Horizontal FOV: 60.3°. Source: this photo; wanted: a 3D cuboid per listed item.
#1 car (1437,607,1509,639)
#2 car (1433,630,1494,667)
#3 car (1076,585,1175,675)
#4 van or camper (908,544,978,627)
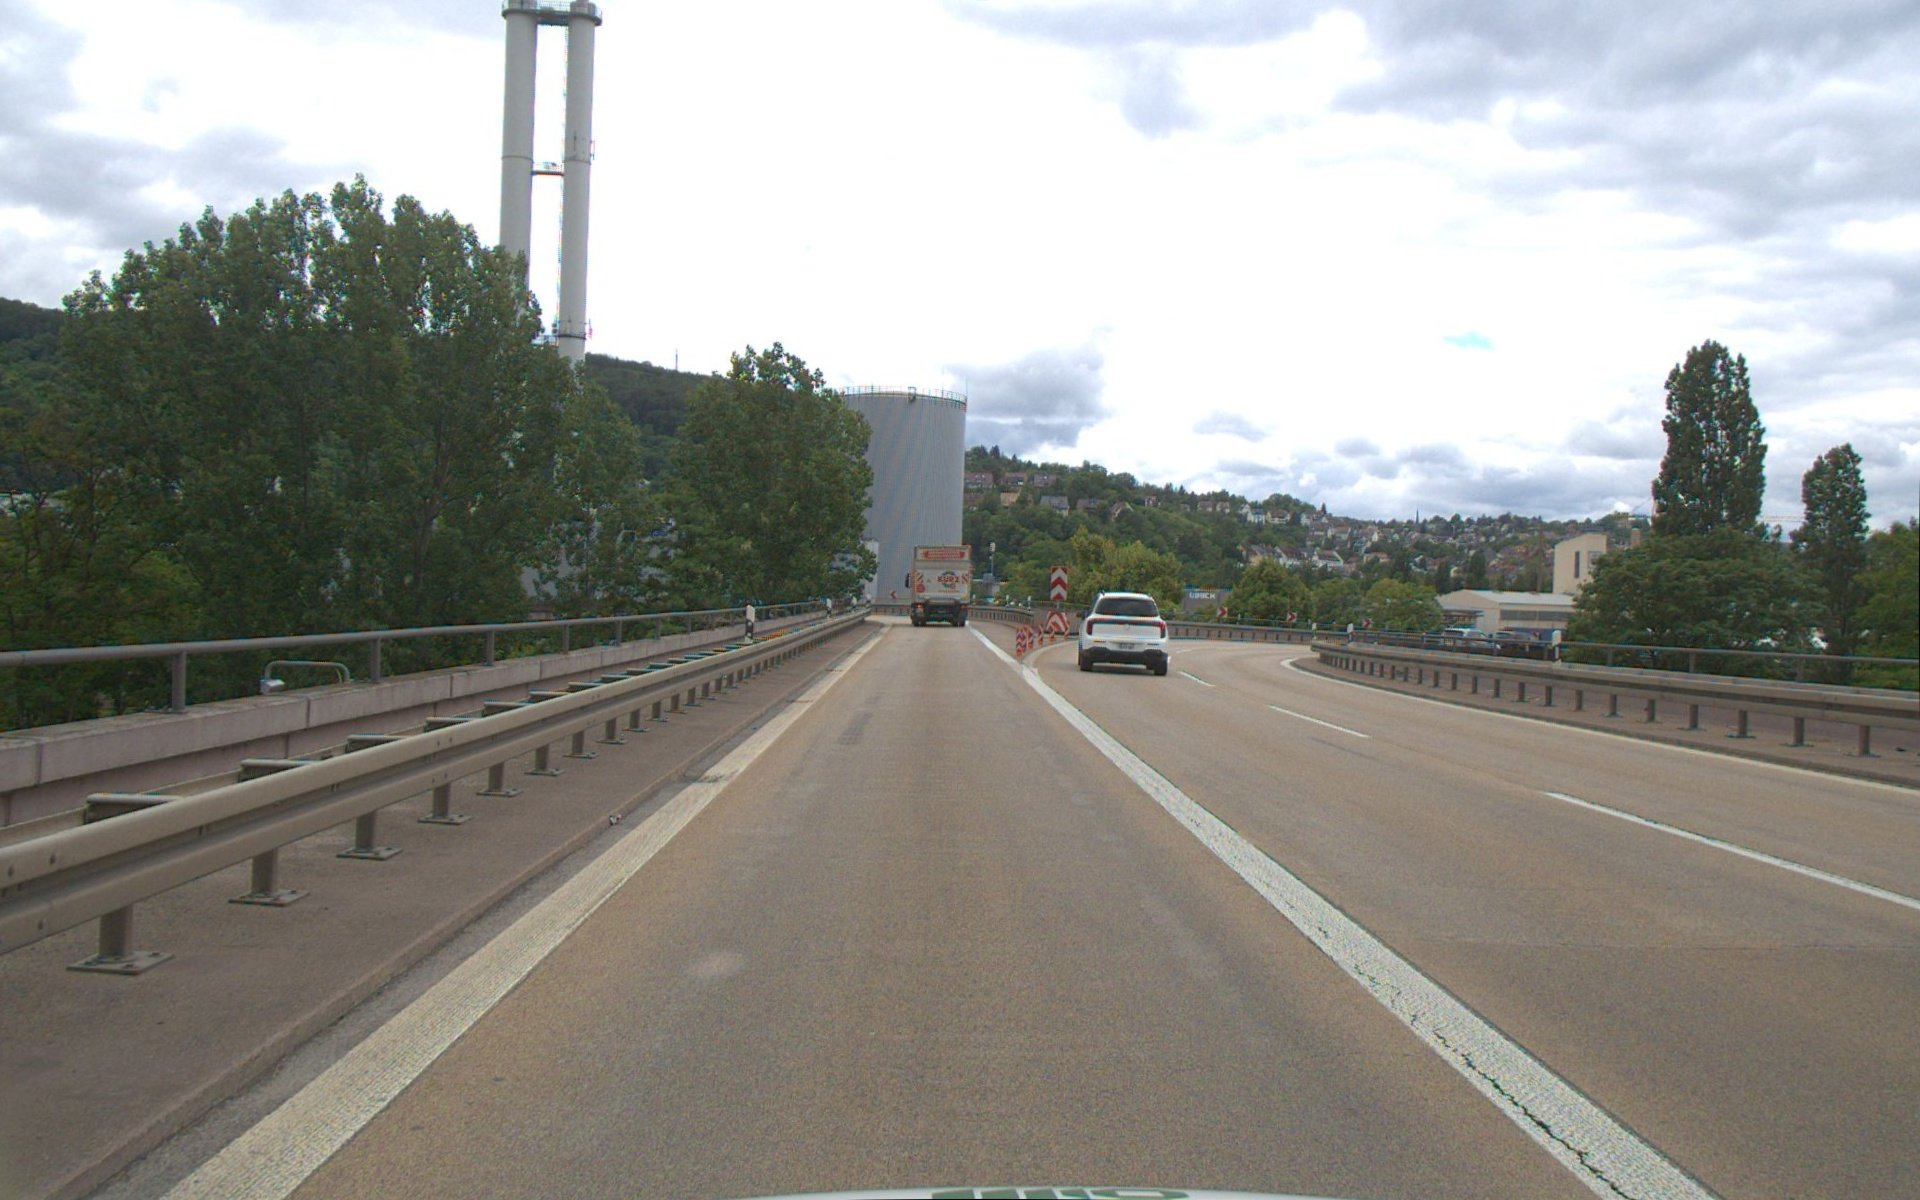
[{"bbox_3d":[29.830,1.320,96.094,4.063,1.817,1.907,0,0,-34],"label":"car"},{"bbox_3d":[27.103,2.599,88.958,1.892,1.817,4.097,1,0,36],"label":"car"},{"bbox_3d":[3.546,0.600,35.970,1.884,1.816,4.114,0,0,2],"label":"car"},{"bbox_3d":[-0.876,-0.623,77.070,3.059,3.642,8.546,0,0,-2],"label":"van or camper"}]
